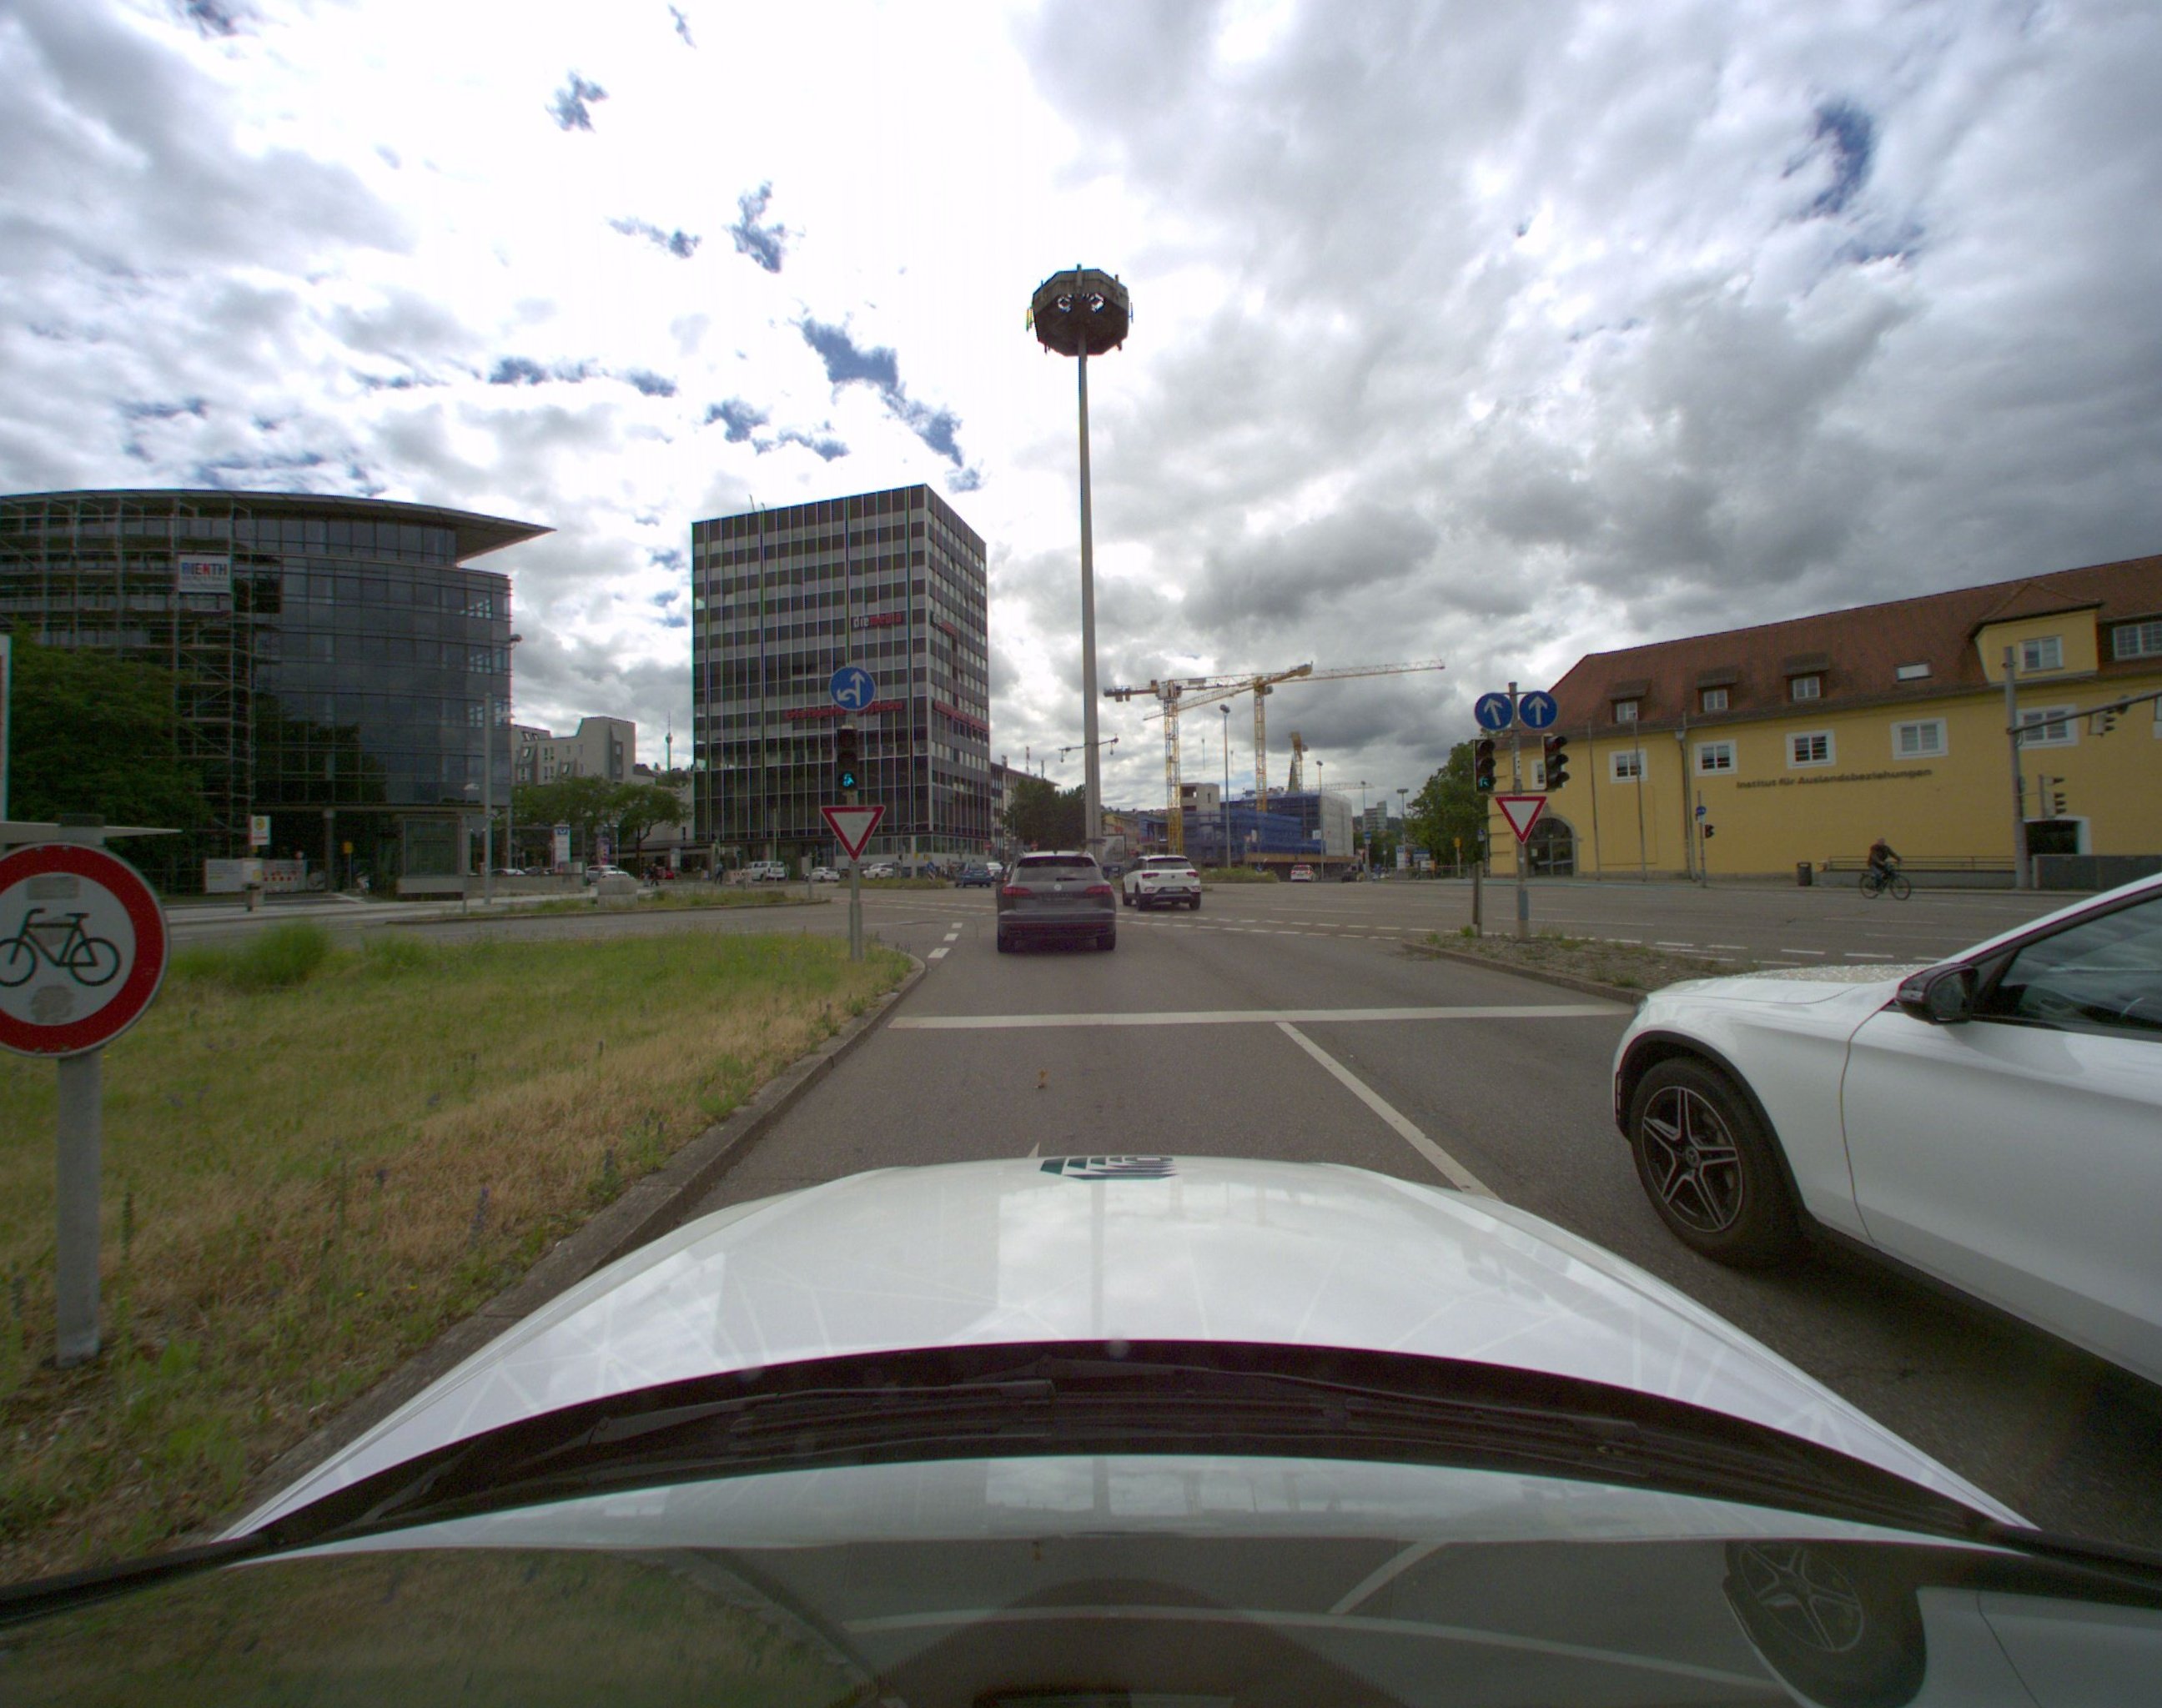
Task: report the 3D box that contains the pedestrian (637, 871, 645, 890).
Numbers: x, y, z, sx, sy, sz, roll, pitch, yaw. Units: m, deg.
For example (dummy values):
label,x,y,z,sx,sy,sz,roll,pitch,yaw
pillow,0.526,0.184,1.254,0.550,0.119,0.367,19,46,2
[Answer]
label,x,y,z,sx,sy,sz,roll,pitch,yaw
pedestrian,-32.909,1.965,60.877,0.539,1.396,0.649,0,0,-29

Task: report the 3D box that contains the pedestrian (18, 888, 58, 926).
label,x,y,z,sx,sy,sz,roll,pitch,yaw
pedestrian,-30.481,1.550,23.798,0.471,1.081,0.562,0,0,12

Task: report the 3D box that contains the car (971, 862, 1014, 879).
label,x,y,z,sx,sy,sz,roll,pitch,yaw
car,-6.278,1.133,57.469,1.679,1.139,4.034,-1,0,-27

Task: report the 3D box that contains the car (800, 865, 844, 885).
label,x,y,z,sx,sy,sz,roll,pitch,yaw
car,-25.192,2.037,79.106,3.948,1.610,1.913,1,5,34

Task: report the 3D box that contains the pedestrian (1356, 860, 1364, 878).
label,x,y,z,sx,sy,sz,roll,pitch,yaw
pedestrian,20.836,1.111,60.786,0.543,1.282,0.465,0,0,26

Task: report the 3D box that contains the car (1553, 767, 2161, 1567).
label,x,y,z,sx,sy,sz,roll,pitch,yaw
car,3.122,0.632,1.699,1.812,1.647,4.380,-1,0,1

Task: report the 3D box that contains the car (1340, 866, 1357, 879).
label,x,y,z,sx,sy,sz,roll,pitch,yaw
car,34.926,2.422,106.326,1.787,1.502,4.003,-1,0,23

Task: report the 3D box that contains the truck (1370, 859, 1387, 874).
label,x,y,z,sx,sy,sz,roll,pitch,yaw
truck,50.732,2.121,138.893,2.108,2.453,4.856,-1,0,26

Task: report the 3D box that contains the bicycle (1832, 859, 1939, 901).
label,x,y,z,sx,sy,sz,roll,pitch,yaw
bicycle,23.538,0.737,23.915,0.918,1.158,2.469,0,0,6

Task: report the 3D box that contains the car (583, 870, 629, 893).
label,x,y,z,sx,sy,sz,roll,pitch,yaw
car,-38.347,2.231,65.773,3.413,1.794,1.813,-1,-1,33

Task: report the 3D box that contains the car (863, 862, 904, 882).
label,x,y,z,sx,sy,sz,roll,pitch,yaw
car,-15.993,1.445,65.751,1.829,1.496,3.862,-1,0,-37

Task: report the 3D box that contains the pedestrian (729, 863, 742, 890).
label,x,y,z,sx,sy,sz,roll,pitch,yaw
pedestrian,-31.397,2.023,73.918,0.964,2.361,1.031,-1,0,-29

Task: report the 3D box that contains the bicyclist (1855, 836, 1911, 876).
label,x,y,z,sx,sy,sz,roll,pitch,yaw
bicyclist,23.536,0.049,23.916,0.918,1.159,0.726,0,0,6

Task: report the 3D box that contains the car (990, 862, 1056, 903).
label,x,y,z,sx,sy,sz,roll,pitch,yaw
car,-2.164,0.971,29.592,1.795,1.356,4.052,-1,0,-13

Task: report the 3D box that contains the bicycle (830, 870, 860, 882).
label,x,y,z,sx,sy,sz,roll,pitch,yaw
bicycle,-24.631,2.297,85.008,3.269,1.168,1.259,0,0,38

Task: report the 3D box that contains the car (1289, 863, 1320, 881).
label,x,y,z,sx,sy,sz,roll,pitch,yaw
car,19.727,1.594,71.777,1.786,1.502,4.005,-1,-1,28

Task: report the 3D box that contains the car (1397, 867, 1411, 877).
label,x,y,z,sx,sy,sz,roll,pitch,yaw
car,71.245,3.982,179.637,1.983,2.013,4.008,-1,0,7

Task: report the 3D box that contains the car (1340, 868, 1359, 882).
label,x,y,z,sx,sy,sz,roll,pitch,yaw
car,31.014,2.392,94.130,1.787,1.502,4.003,-1,0,23

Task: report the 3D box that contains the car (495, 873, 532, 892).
label,x,y,z,sx,sy,sz,roll,pitch,yaw
car,-57.110,2.818,81.917,3.948,1.816,2.013,-1,-1,38

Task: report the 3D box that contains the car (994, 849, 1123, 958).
label,x,y,z,sx,sy,sz,roll,pitch,yaw
car,-0.553,0.743,14.592,1.931,1.647,3.990,-1,0,-7

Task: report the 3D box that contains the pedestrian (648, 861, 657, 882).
label,x,y,z,sx,sy,sz,roll,pitch,yaw
pedestrian,-32.136,1.299,61.063,0.625,1.593,0.585,0,0,-30

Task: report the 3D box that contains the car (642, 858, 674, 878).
label,x,y,z,sx,sy,sz,roll,pitch,yaw
car,-44.593,1.472,85.825,2.011,2.013,3.951,-1,0,-44

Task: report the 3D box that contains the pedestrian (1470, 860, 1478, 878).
label,x,y,z,sx,sy,sz,roll,pitch,yaw
pedestrian,34.407,1.293,71.294,0.537,1.597,0.746,0,0,26

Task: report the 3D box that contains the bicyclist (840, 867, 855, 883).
label,x,y,z,sx,sy,sz,roll,pitch,yaw
bicyclist,-24.303,2.169,84.757,0.904,1.641,1.259,0,0,38

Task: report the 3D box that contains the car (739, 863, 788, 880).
label,x,y,z,sx,sy,sz,roll,pitch,yaw
car,-30.875,1.679,79.183,4.551,1.502,2.266,-1,0,35

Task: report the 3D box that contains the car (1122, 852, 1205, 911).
label,x,y,z,sx,sy,sz,roll,pitch,yaw
car,2.349,0.739,24.118,1.889,1.585,3.797,-1,0,-3

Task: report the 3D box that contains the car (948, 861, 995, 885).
label,x,y,z,sx,sy,sz,roll,pitch,yaw
car,-6.474,1.099,47.961,1.800,1.356,4.040,-1,0,-22
